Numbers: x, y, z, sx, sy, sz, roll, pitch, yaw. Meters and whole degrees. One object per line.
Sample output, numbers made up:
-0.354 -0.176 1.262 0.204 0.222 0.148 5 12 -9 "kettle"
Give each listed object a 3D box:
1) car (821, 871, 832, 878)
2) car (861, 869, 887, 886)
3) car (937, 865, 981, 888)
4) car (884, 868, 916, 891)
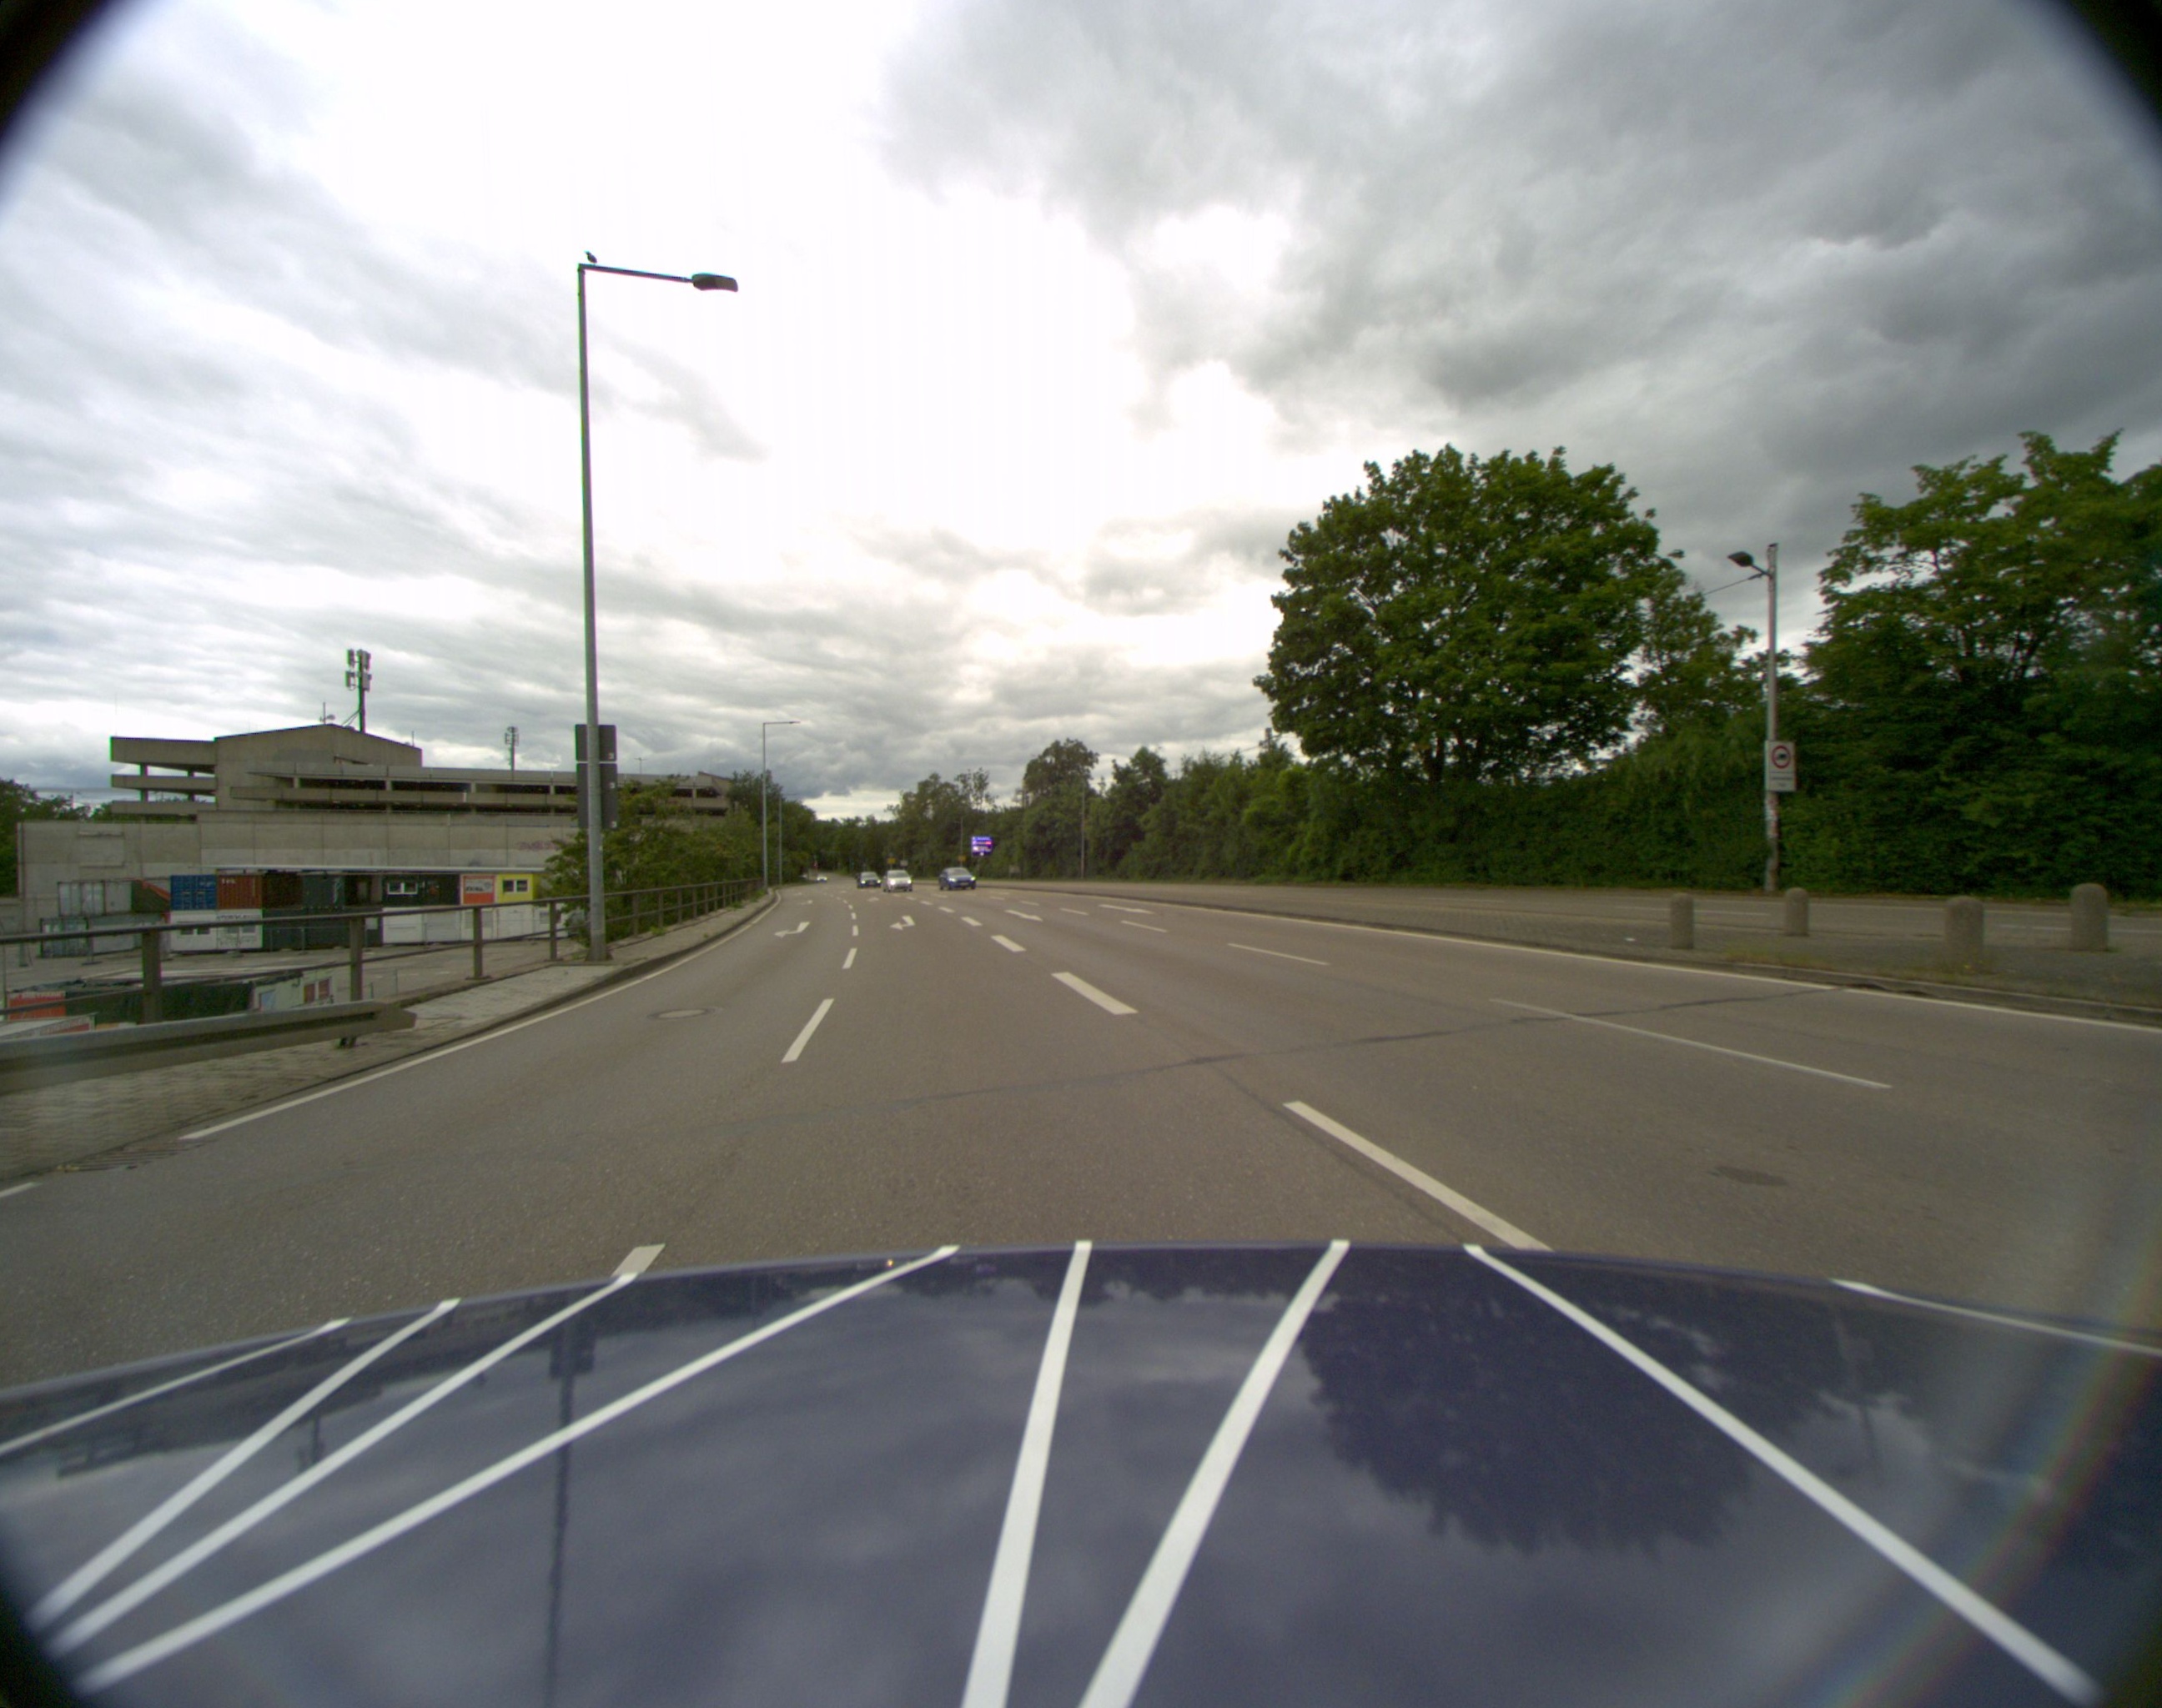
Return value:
-49.681 3.970 148.294 1.868 1.408 4.331 -2 0 -21 "car"
-18.589 2.072 68.193 1.867 1.408 4.332 -2 0 -19 "car"
-8.107 1.479 50.191 1.845 1.408 4.572 -2 0 -22 "car"
-12.290 1.688 51.535 1.612 1.408 3.585 -2 0 -21 "car"
